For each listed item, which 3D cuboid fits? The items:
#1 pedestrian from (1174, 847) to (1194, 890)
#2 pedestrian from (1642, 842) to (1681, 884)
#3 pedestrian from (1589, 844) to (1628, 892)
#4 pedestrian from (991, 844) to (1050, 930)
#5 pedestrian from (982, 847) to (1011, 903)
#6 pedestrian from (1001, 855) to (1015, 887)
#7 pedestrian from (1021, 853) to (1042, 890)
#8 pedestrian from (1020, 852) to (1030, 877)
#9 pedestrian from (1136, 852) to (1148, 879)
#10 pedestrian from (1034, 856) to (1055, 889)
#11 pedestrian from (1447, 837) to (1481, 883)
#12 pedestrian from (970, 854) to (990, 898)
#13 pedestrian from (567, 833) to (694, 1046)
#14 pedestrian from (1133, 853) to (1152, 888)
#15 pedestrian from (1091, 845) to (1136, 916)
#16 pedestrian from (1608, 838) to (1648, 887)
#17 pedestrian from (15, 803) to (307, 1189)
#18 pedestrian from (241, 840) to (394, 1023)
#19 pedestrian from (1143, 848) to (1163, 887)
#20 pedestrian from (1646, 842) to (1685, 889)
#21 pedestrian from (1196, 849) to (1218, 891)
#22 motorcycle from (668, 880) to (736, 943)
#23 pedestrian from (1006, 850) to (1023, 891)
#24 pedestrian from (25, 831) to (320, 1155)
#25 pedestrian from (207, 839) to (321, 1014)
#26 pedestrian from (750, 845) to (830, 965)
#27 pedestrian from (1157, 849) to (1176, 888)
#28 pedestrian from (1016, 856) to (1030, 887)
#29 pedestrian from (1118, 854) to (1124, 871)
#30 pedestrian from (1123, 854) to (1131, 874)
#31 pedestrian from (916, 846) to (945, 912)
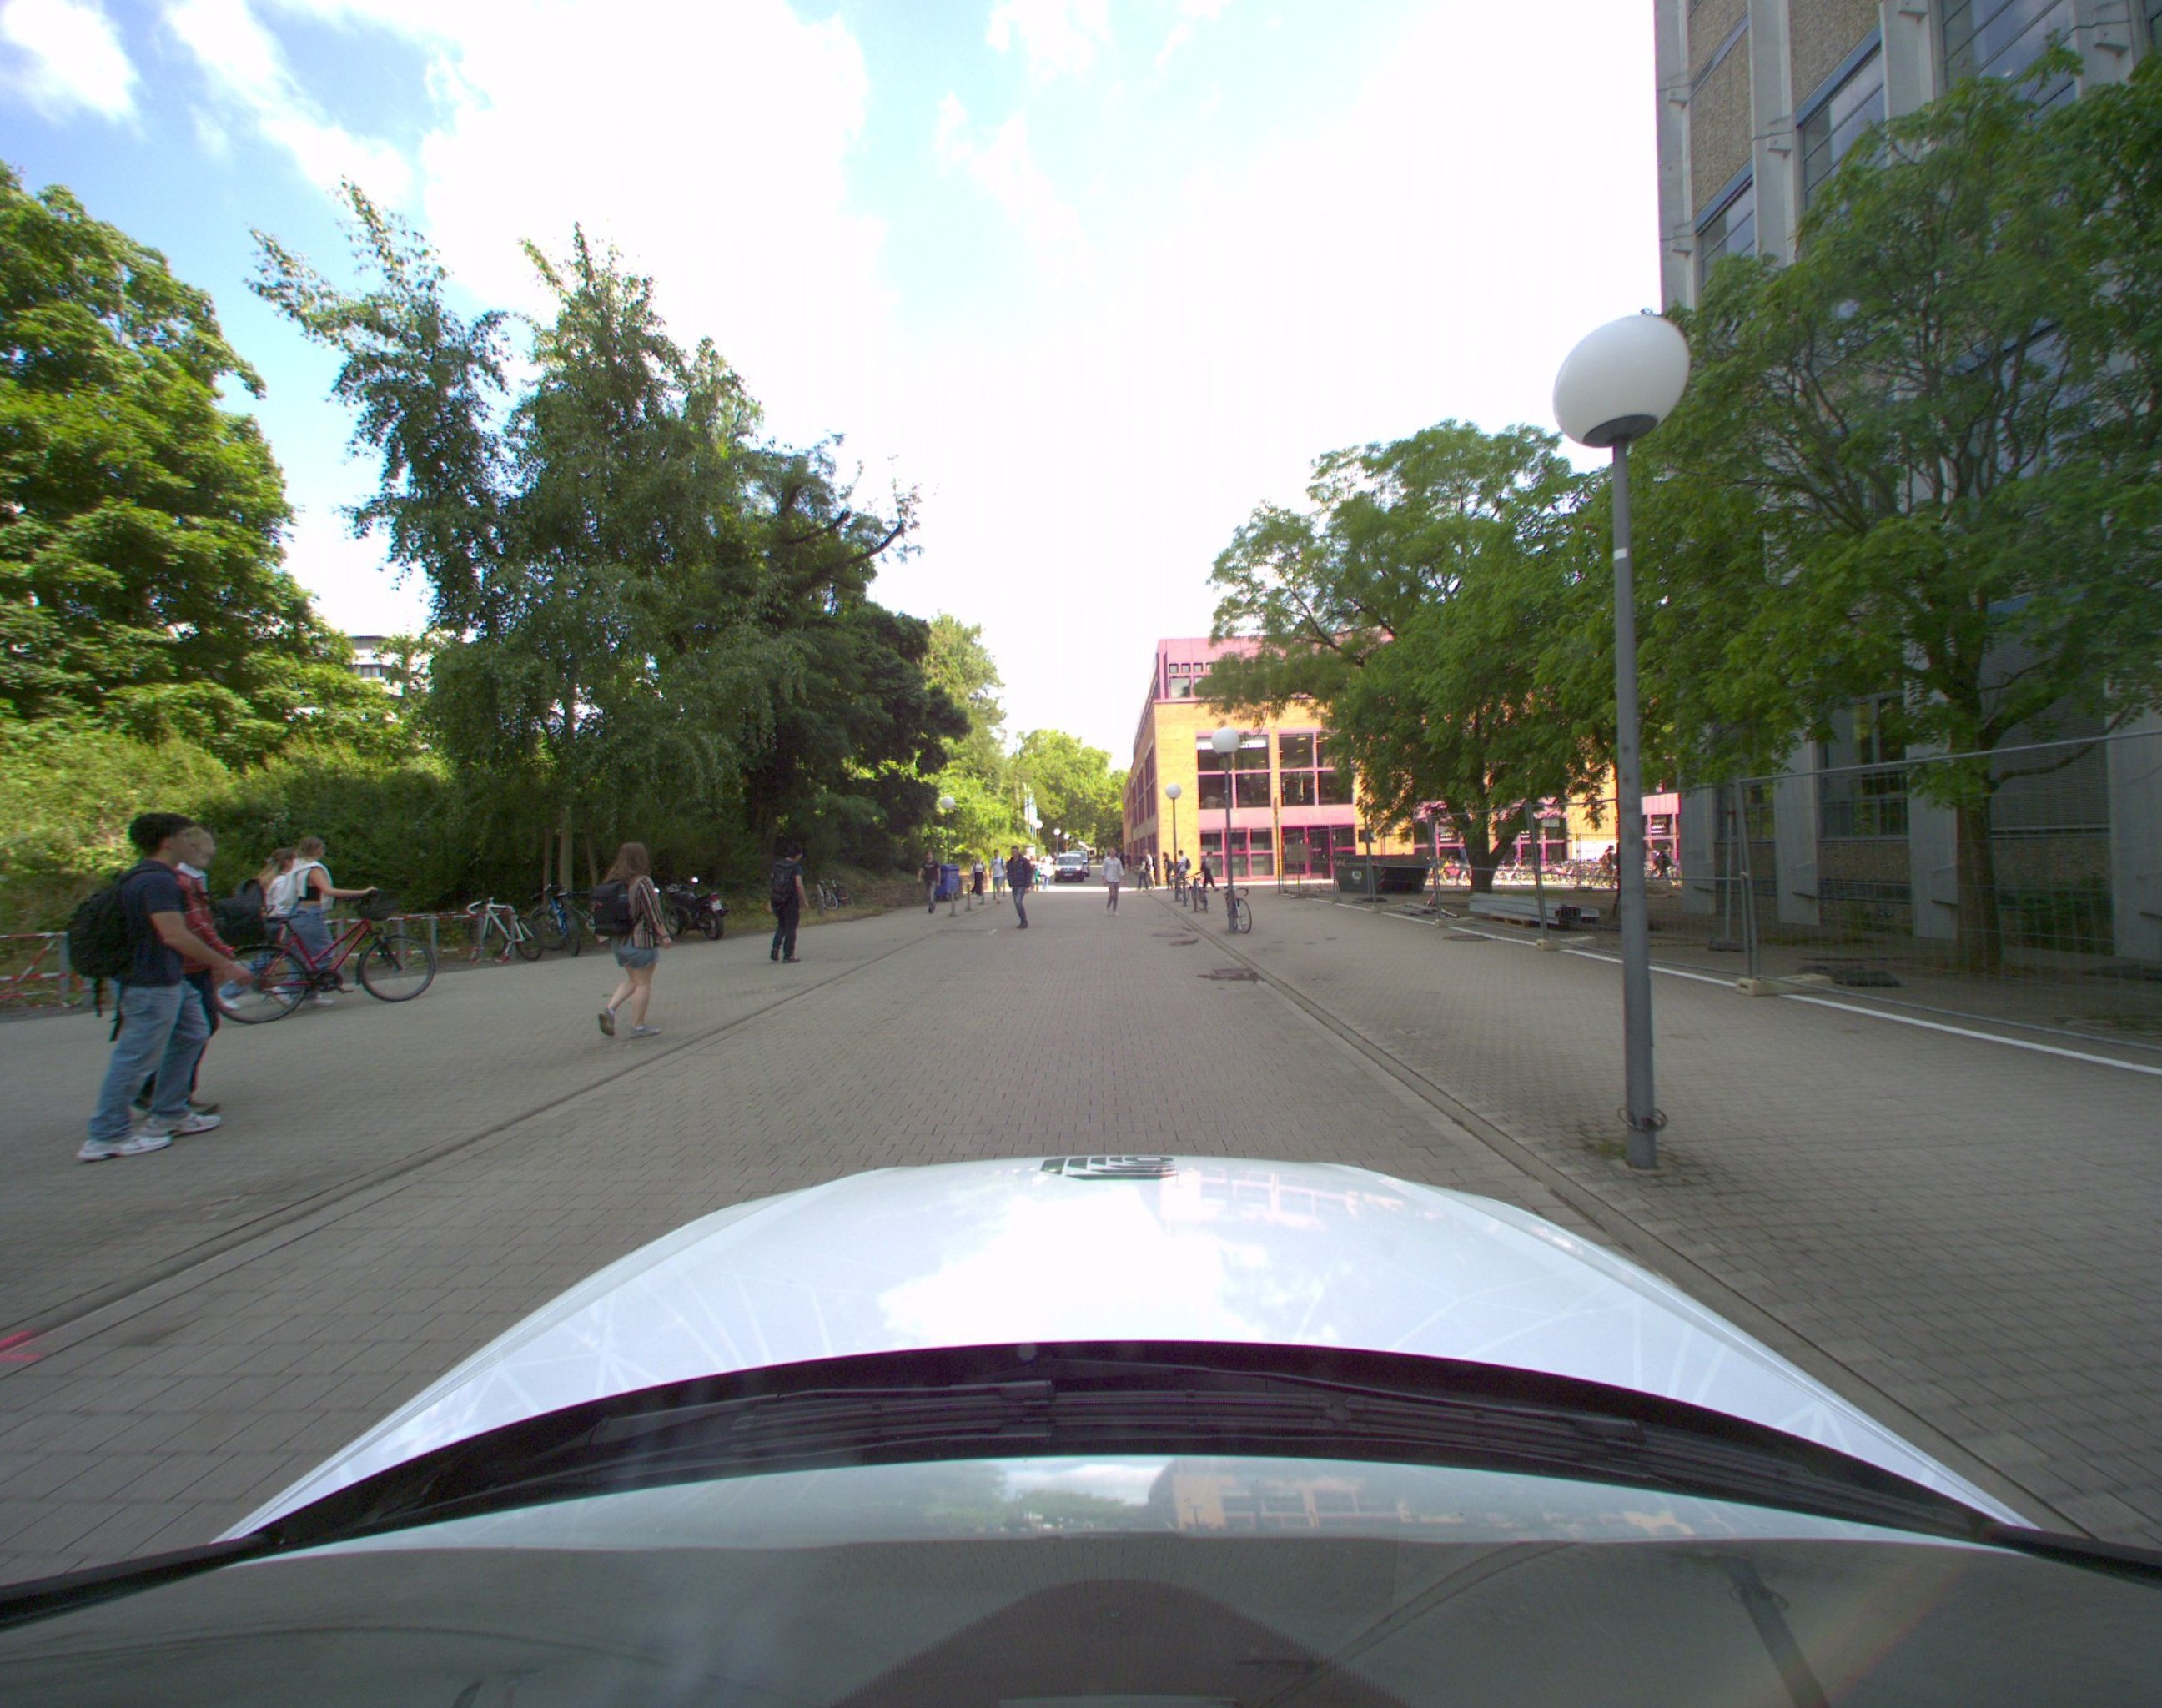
[{"bbox_3d":[4.442,0.635,35.067,0.762,1.794,0.589,-3,-2,8],"label":"pedestrian"},{"bbox_3d":[23.044,0.373,32.334,1.038,1.651,0.705,-1,-1,8],"label":"pedestrian"},{"bbox_3d":[19.488,0.510,30.098,0.900,1.728,0.684,-1,-3,-4],"label":"pedestrian"},{"bbox_3d":[-1.349,0.716,18.330,0.877,1.857,1.039,0,-1,31],"label":"pedestrian"},{"bbox_3d":[-2.954,0.731,28.493,0.719,1.881,1.085,-1,-1,9],"label":"pedestrian"},{"bbox_3d":[-3.822,0.890,42.627,0.681,1.620,0.977,-1,-1,-3],"label":"pedestrian"},{"bbox_3d":[-2.289,0.806,37.692,0.881,1.672,0.560,-1,-1,8],"label":"pedestrian"},{"bbox_3d":[-4.198,0.762,60.884,0.680,1.844,0.783,-1,-1,1],"label":"pedestrian"},{"bbox_3d":[3.932,0.739,52.435,0.680,1.747,0.783,-1,-1,1],"label":"pedestrian"},{"bbox_3d":[-1.731,0.892,38.641,0.881,1.542,0.744,-1,-1,8],"label":"pedestrian"},{"bbox_3d":[15.035,0.243,31.972,0.900,1.728,0.684,-1,-3,-4],"label":"pedestrian"},{"bbox_3d":[-4.011,0.856,32.412,0.681,1.728,1.001,-1,-1,-3],"label":"pedestrian"},{"bbox_3d":[-3.841,0.696,7.001,0.682,1.724,0.731,0,-1,-1],"label":"pedestrian"},{"bbox_3d":[2.843,0.758,37.675,0.778,1.620,0.684,-1,-1,-1],"label":"pedestrian"},{"bbox_3d":[0.863,0.701,21.831,0.786,1.845,1.109,0,-1,-23],"label":"pedestrian"},{"bbox_3d":[19.640,0.320,29.245,0.900,1.728,0.684,-1,-3,-4],"label":"pedestrian"},{"bbox_3d":[-4.986,0.669,4.444,0.677,1.835,0.947,-2,0,35],"label":"pedestrian"},{"bbox_3d":[-7.735,0.733,8.275,0.669,1.724,0.943,-2,0,30],"label":"pedestrian"},{"bbox_3d":[3.398,0.631,38.441,0.823,1.844,0.684,-1,-1,-1],"label":"pedestrian"},{"bbox_3d":[22.297,0.443,31.080,0.900,1.728,0.684,-1,-3,-4],"label":"pedestrian"},{"bbox_3d":[5.057,0.654,32.653,0.847,1.651,0.589,-1,-1,8],"label":"pedestrian"},{"bbox_3d":[-7.196,1.058,15.419,2.001,1.047,0.477,1,0,44],"label":"motorcycle"},{"bbox_3d":[-3.024,0.762,37.113,0.680,1.844,0.783,-1,-1,1],"label":"pedestrian"},{"bbox_3d":[-5.491,0.732,4.964,0.710,1.724,1.071,-2,0,33],"label":"pedestrian"},{"bbox_3d":[-8.552,0.717,8.556,0.689,1.724,0.723,-2,0,-35],"label":"pedestrian"},{"bbox_3d":[-4.364,0.729,12.239,0.677,1.724,0.910,0,-1,31],"label":"pedestrian"},{"bbox_3d":[3.769,0.632,35.879,0.692,1.672,0.589,-3,-2,8],"label":"pedestrian"},{"bbox_3d":[-3.052,0.917,42.908,0.681,1.620,0.912,-1,-1,-3],"label":"pedestrian"},{"bbox_3d":[4.065,0.855,82.883,0.584,1.672,0.818,-2,-2,3],"label":"pedestrian"},{"bbox_3d":[3.908,0.813,68.755,0.584,1.672,0.699,-2,-2,2],"label":"pedestrian"},{"bbox_3d":[-4.392,0.734,23.768,0.681,1.873,1.119,-1,-1,-3],"label":"pedestrian"}]
